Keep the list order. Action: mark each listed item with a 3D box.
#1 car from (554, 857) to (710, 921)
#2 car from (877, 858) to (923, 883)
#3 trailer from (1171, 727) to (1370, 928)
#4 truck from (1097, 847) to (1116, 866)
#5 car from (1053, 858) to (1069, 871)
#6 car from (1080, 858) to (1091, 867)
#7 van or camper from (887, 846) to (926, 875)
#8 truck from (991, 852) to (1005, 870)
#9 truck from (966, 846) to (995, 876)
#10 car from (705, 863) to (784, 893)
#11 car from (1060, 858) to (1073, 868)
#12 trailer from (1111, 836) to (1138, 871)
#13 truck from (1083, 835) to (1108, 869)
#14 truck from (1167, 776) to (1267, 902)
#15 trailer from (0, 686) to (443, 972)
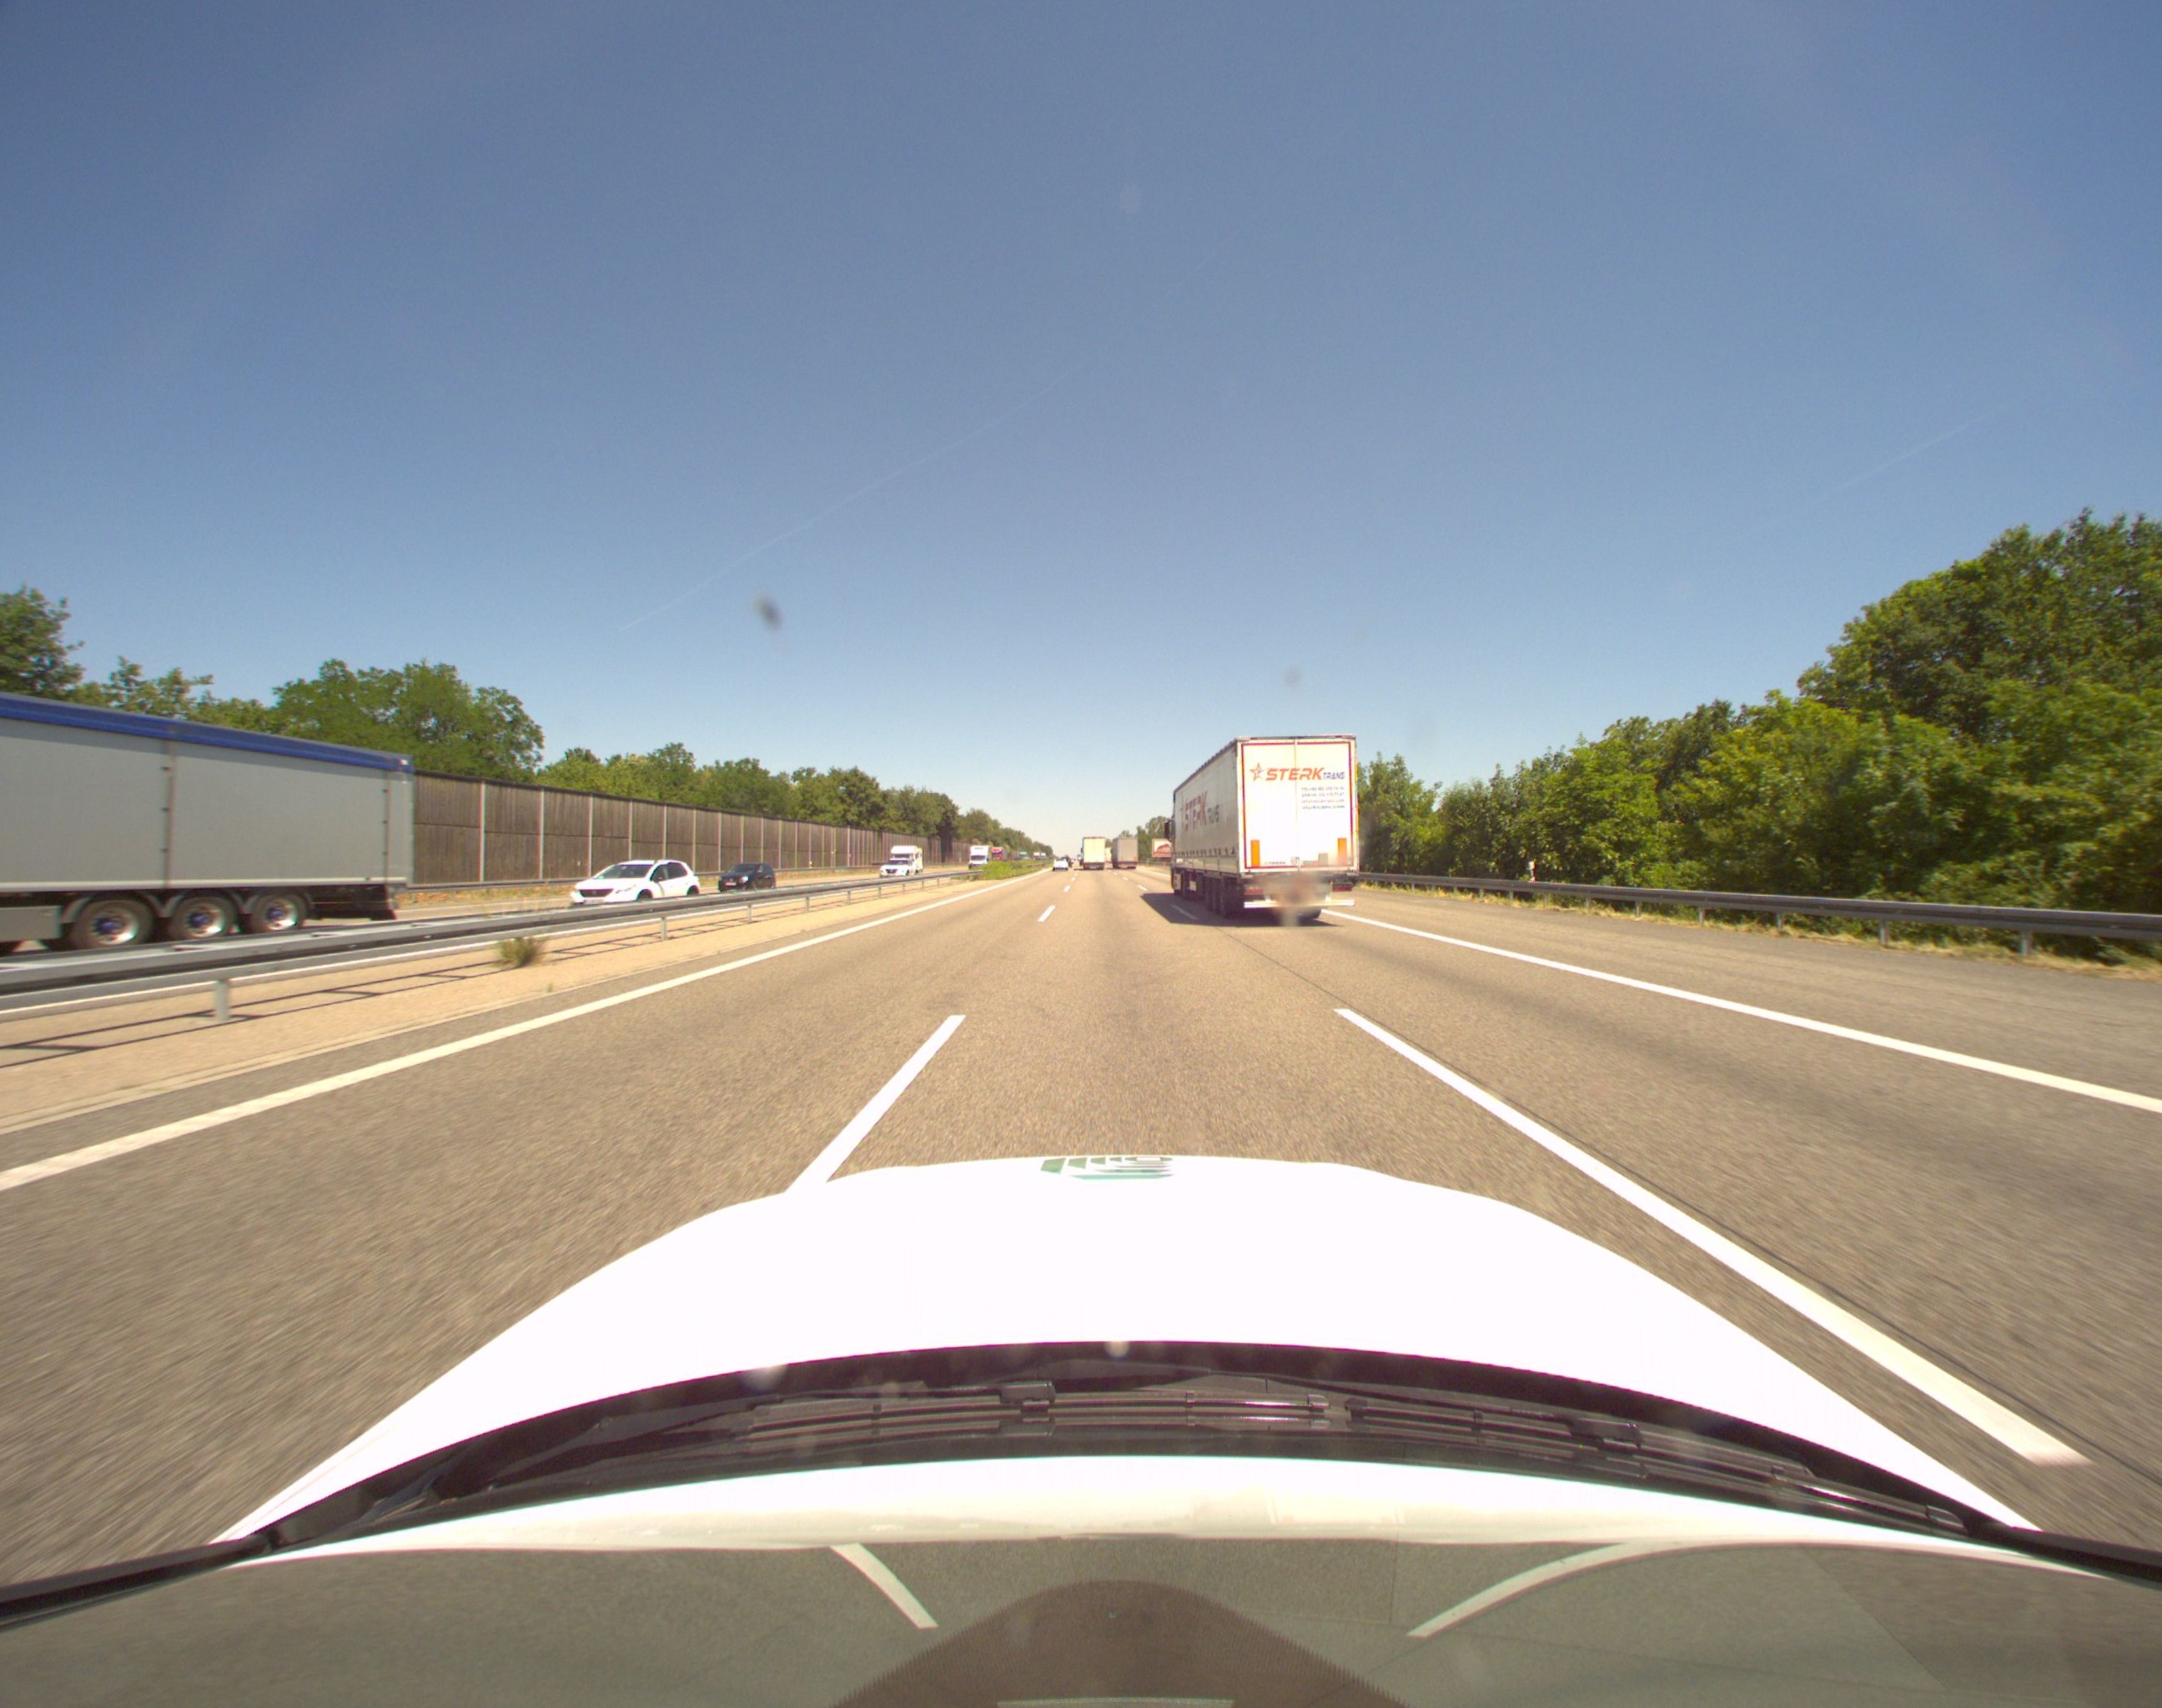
[{"bbox_3d":[-12.027,0.876,22.176,1.798,1.544,4.247,-1,0,1],"label":"car"},{"bbox_3d":[-11.923,1.042,53.941,1.912,1.546,4.583,-1,0,2],"label":"car"},{"bbox_3d":[4.663,-0.503,23.752,2.698,4.088,14.152,0,0,1],"label":"trailer"},{"bbox_3d":[5.905,0.598,190.554,3.367,4.304,11.436,3,0,-3],"label":"truck"},{"bbox_3d":[-2.414,1.260,97.126,1.850,1.486,3.998,-1,0,-1],"label":"car"},{"bbox_3d":[0.756,1.524,145.958,1.849,1.617,3.999,-1,0,0],"label":"car"},{"bbox_3d":[-18.546,0.670,86.948,2.550,2.914,7.373,1,0,0],"label":"van or camper"},{"bbox_3d":[-19.319,1.510,188.817,2.477,4.087,4.680,-1,-1,2],"label":"truck"},{"bbox_3d":[-11.616,0.815,94.764,2.402,3.352,6.918,-1,0,0],"label":"truck"},{"bbox_3d":[-16.604,1.144,40.434,1.912,1.375,4.582,-1,0,1],"label":"car"},{"bbox_3d":[-2.236,1.380,125.484,1.850,1.617,3.998,-1,0,-1],"label":"car"},{"bbox_3d":[5.627,-0.009,107.430,2.695,4.216,13.205,0,-1,-1],"label":"trailer"},{"bbox_3d":[1.701,-0.171,103.316,2.699,4.086,13.467,0,-1,-1],"label":"truck"},{"bbox_3d":[4.798,-0.455,29.970,2.697,4.088,6.967,0,0,2],"label":"truck"},{"bbox_3d":[-16.545,-0.349,12.296,2.332,4.076,14.213,-1,0,2],"label":"trailer"}]
